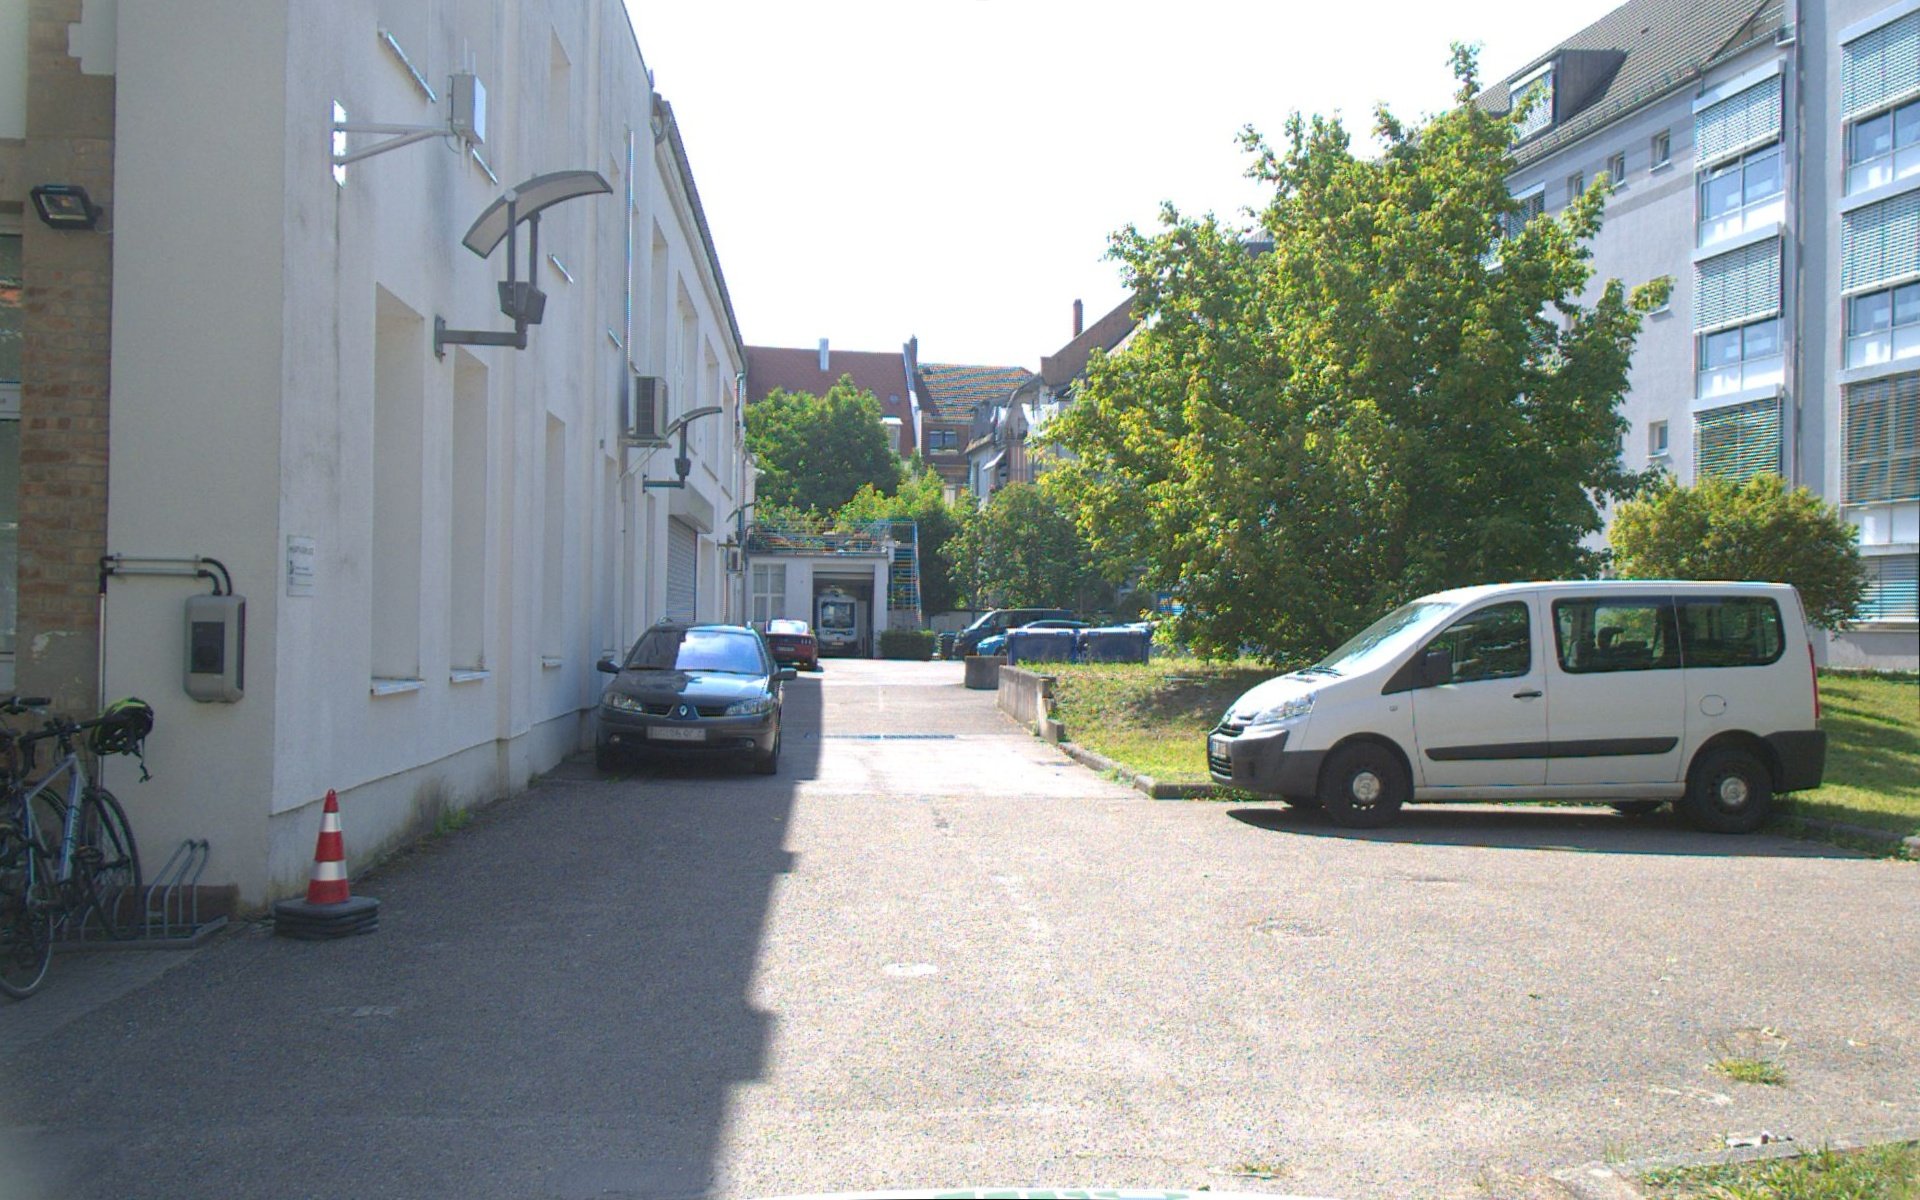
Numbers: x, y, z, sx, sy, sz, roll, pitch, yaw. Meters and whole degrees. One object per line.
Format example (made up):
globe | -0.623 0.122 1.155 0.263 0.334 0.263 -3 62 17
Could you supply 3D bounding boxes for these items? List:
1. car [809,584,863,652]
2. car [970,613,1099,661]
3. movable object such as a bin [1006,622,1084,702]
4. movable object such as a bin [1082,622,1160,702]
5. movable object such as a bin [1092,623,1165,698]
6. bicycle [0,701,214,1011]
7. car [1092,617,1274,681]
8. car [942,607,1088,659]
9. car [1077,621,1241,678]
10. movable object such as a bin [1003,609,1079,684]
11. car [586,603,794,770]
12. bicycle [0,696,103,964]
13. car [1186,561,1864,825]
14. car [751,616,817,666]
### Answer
car | -5.158 0.774 68.770 2.131 2.653 6.727 0 -1 -4
car | 2.522 1.250 56.597 4.150 1.559 1.996 0 0 -9
movable object such as a bin | 1.482 1.085 29.027 1.222 1.342 1.141 -1 -2 -3
movable object such as a bin | 2.831 1.082 29.200 1.222 1.364 1.142 0 -1 -2
movable object such as a bin | 3.128 1.109 30.838 1.133 1.360 1.140 0 -1 -8
bicycle | -3.566 0.966 6.702 0.435 1.010 1.540 0 0 -2
car | 5.203 1.129 38.808 3.912 1.452 1.808 0 -1 -8
car | 1.973 1.165 59.811 4.874 1.798 2.086 0 0 -18
car | 5.043 1.237 42.198 3.909 1.418 1.687 0 -1 -5
movable object such as a bin | 1.499 0.855 30.830 1.224 1.379 1.127 0 -1 -8
car | -2.681 0.874 17.317 1.801 1.467 4.424 2 -2 -5
bicycle | -4.036 0.941 6.603 0.435 1.010 1.629 0 0 -2
car | 4.505 0.727 13.677 4.924 1.967 1.998 1 0 -4
car | -5.176 1.182 48.876 1.816 1.342 3.995 2 -1 -6
